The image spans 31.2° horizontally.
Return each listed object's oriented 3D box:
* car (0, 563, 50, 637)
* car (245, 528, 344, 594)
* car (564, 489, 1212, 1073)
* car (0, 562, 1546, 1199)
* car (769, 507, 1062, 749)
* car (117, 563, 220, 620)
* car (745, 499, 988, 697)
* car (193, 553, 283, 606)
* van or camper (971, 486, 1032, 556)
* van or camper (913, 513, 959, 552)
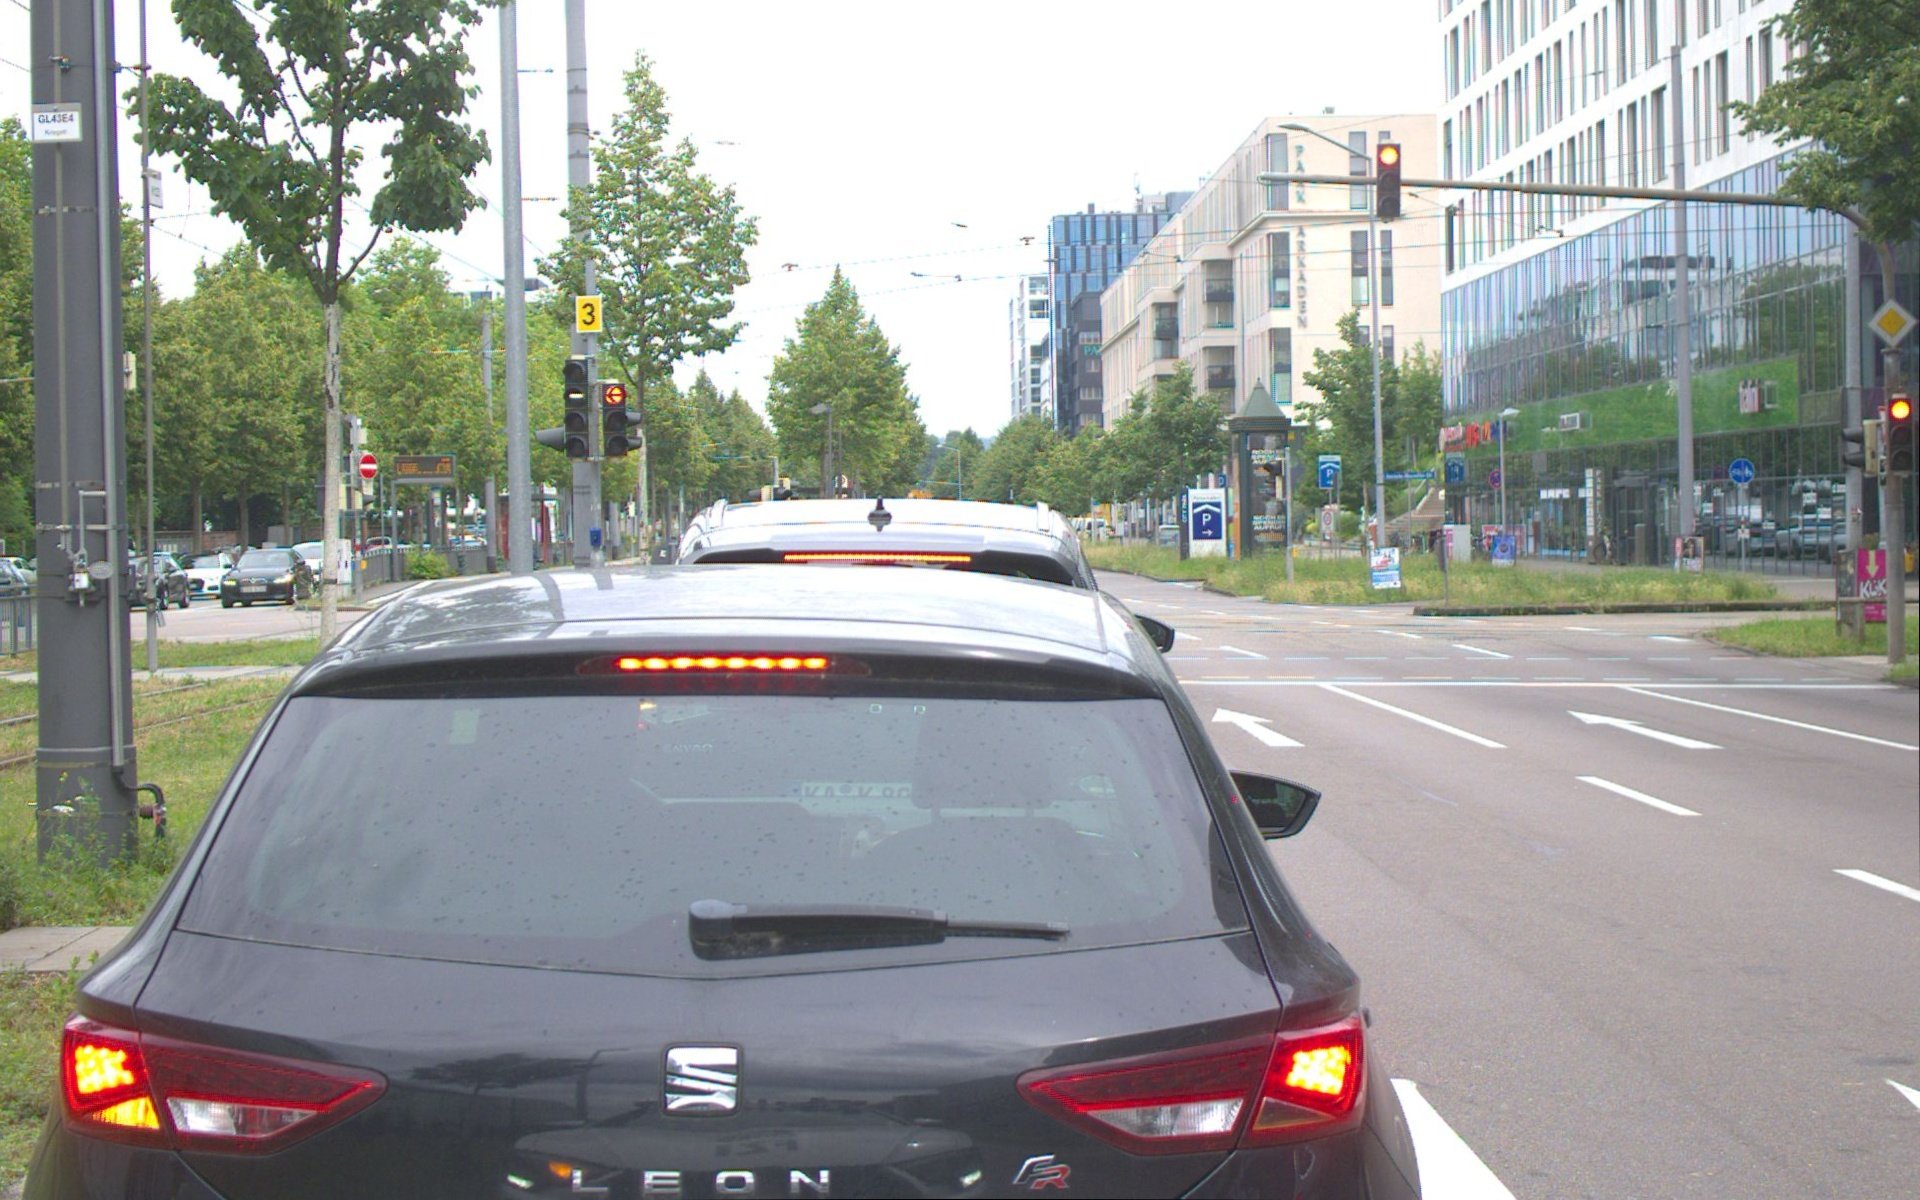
[{"bbox_3d":[-20.295,0.021,71.313,1.663,1.422,4.746,-2,2,-2],"label":"car"},{"bbox_3d":[-18.370,-1.092,95.088,1.993,1.744,4.201,-1,1,-2],"label":"car"},{"bbox_3d":[-0.224,0.465,11.693,1.802,1.619,4.000,-1,1,-1],"label":"car"},{"bbox_3d":[-0.332,0.681,5.486,1.743,1.412,4.001,0,1,-1],"label":"car"},{"bbox_3d":[-0.253,0.141,26.072,1.994,1.676,4.000,1,1,2],"label":"car"},{"bbox_3d":[-20.462,-0.230,88.972,1.801,1.373,4.058,-1,1,-1],"label":"car"},{"bbox_3d":[-0.783,-0.071,31.338,1.993,1.676,4.000,0,1,2],"label":"car"},{"bbox_3d":[-22.808,-0.672,108.714,1.811,1.583,5.078,-1,1,-1],"label":"car"},{"bbox_3d":[1.484,-2.871,123.959,2.109,2.348,4.924,0,3,0],"label":"van or camper"},{"bbox_3d":[-1.029,-2.966,150.920,1.993,1.609,4.789,0,2,0],"label":"van or camper"}]
